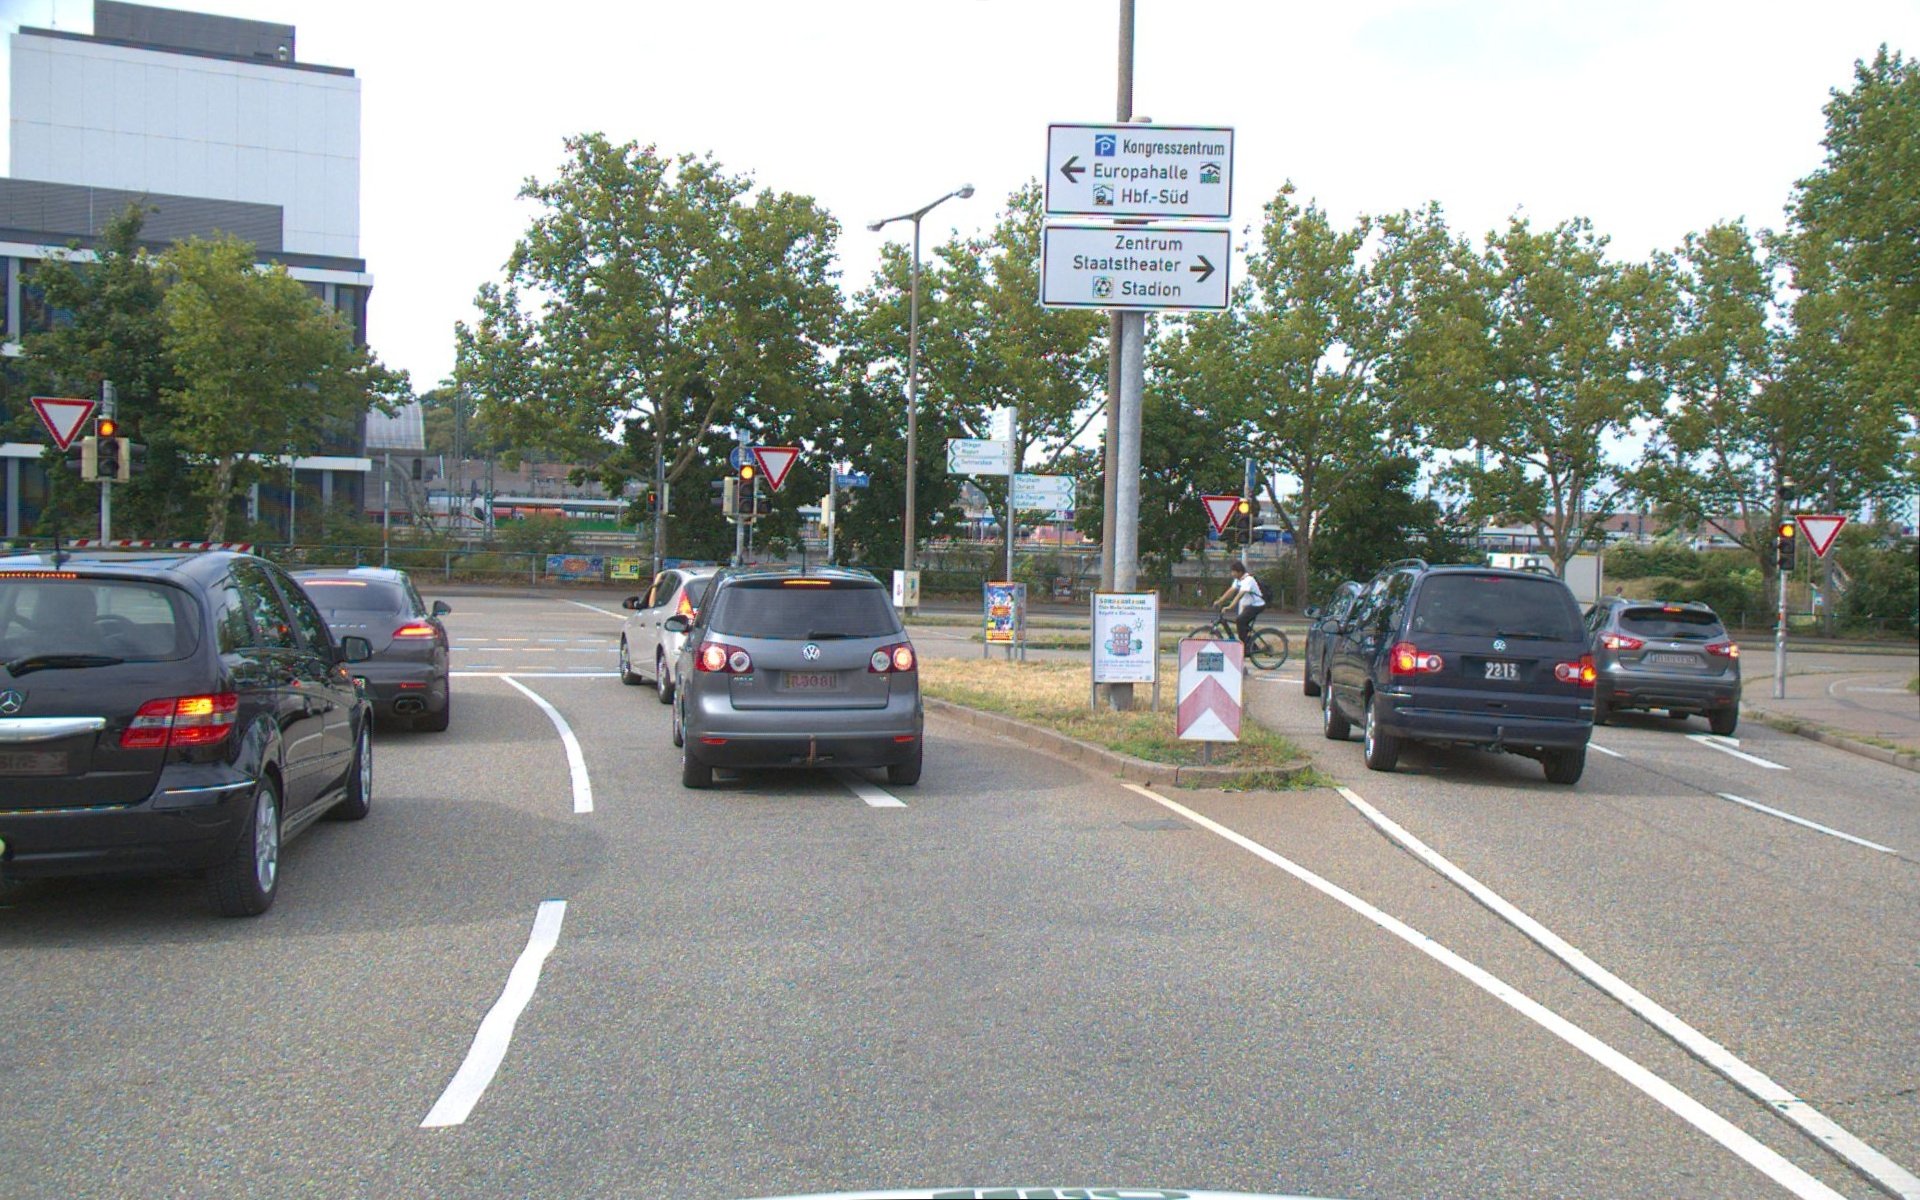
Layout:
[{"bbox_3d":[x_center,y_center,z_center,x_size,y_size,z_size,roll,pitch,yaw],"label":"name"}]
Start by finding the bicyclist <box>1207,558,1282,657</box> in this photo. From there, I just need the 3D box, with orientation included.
[{"bbox_3d":[5.096,0.126,29.624,1.092,1.726,0.811,1,1,-12],"label":"bicyclist"}]

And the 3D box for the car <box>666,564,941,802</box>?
[{"bbox_3d":[-1.386,0.521,13.076,1.710,1.573,4.070,1,1,-12],"label":"car"}]

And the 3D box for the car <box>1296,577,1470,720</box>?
[{"bbox_3d":[5.459,0.571,21.805,1.655,1.613,4.159,3,0,7],"label":"car"}]

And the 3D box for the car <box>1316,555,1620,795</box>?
[{"bbox_3d":[4.368,0.565,14.856,1.713,1.754,4.140,3,0,5],"label":"car"}]

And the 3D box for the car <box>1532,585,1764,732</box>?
[{"bbox_3d":[9.019,0.697,22.042,1.713,1.671,4.141,3,0,7],"label":"car"}]

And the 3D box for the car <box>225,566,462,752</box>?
[{"bbox_3d":[-5.803,0.444,15.785,1.791,1.438,4.750,1,1,-19],"label":"car"}]

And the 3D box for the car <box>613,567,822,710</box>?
[{"bbox_3d":[-2.983,0.378,19.667,1.715,1.508,4.059,1,1,-19],"label":"car"}]

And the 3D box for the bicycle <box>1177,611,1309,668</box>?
[{"bbox_3d":[5.067,0.700,29.627,2.188,0.969,0.809,1,1,-11],"label":"bicycle"}]

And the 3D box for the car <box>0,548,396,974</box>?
[{"bbox_3d":[-4.056,0.581,8.402,1.726,1.602,4.025,1,2,-12],"label":"car"}]
